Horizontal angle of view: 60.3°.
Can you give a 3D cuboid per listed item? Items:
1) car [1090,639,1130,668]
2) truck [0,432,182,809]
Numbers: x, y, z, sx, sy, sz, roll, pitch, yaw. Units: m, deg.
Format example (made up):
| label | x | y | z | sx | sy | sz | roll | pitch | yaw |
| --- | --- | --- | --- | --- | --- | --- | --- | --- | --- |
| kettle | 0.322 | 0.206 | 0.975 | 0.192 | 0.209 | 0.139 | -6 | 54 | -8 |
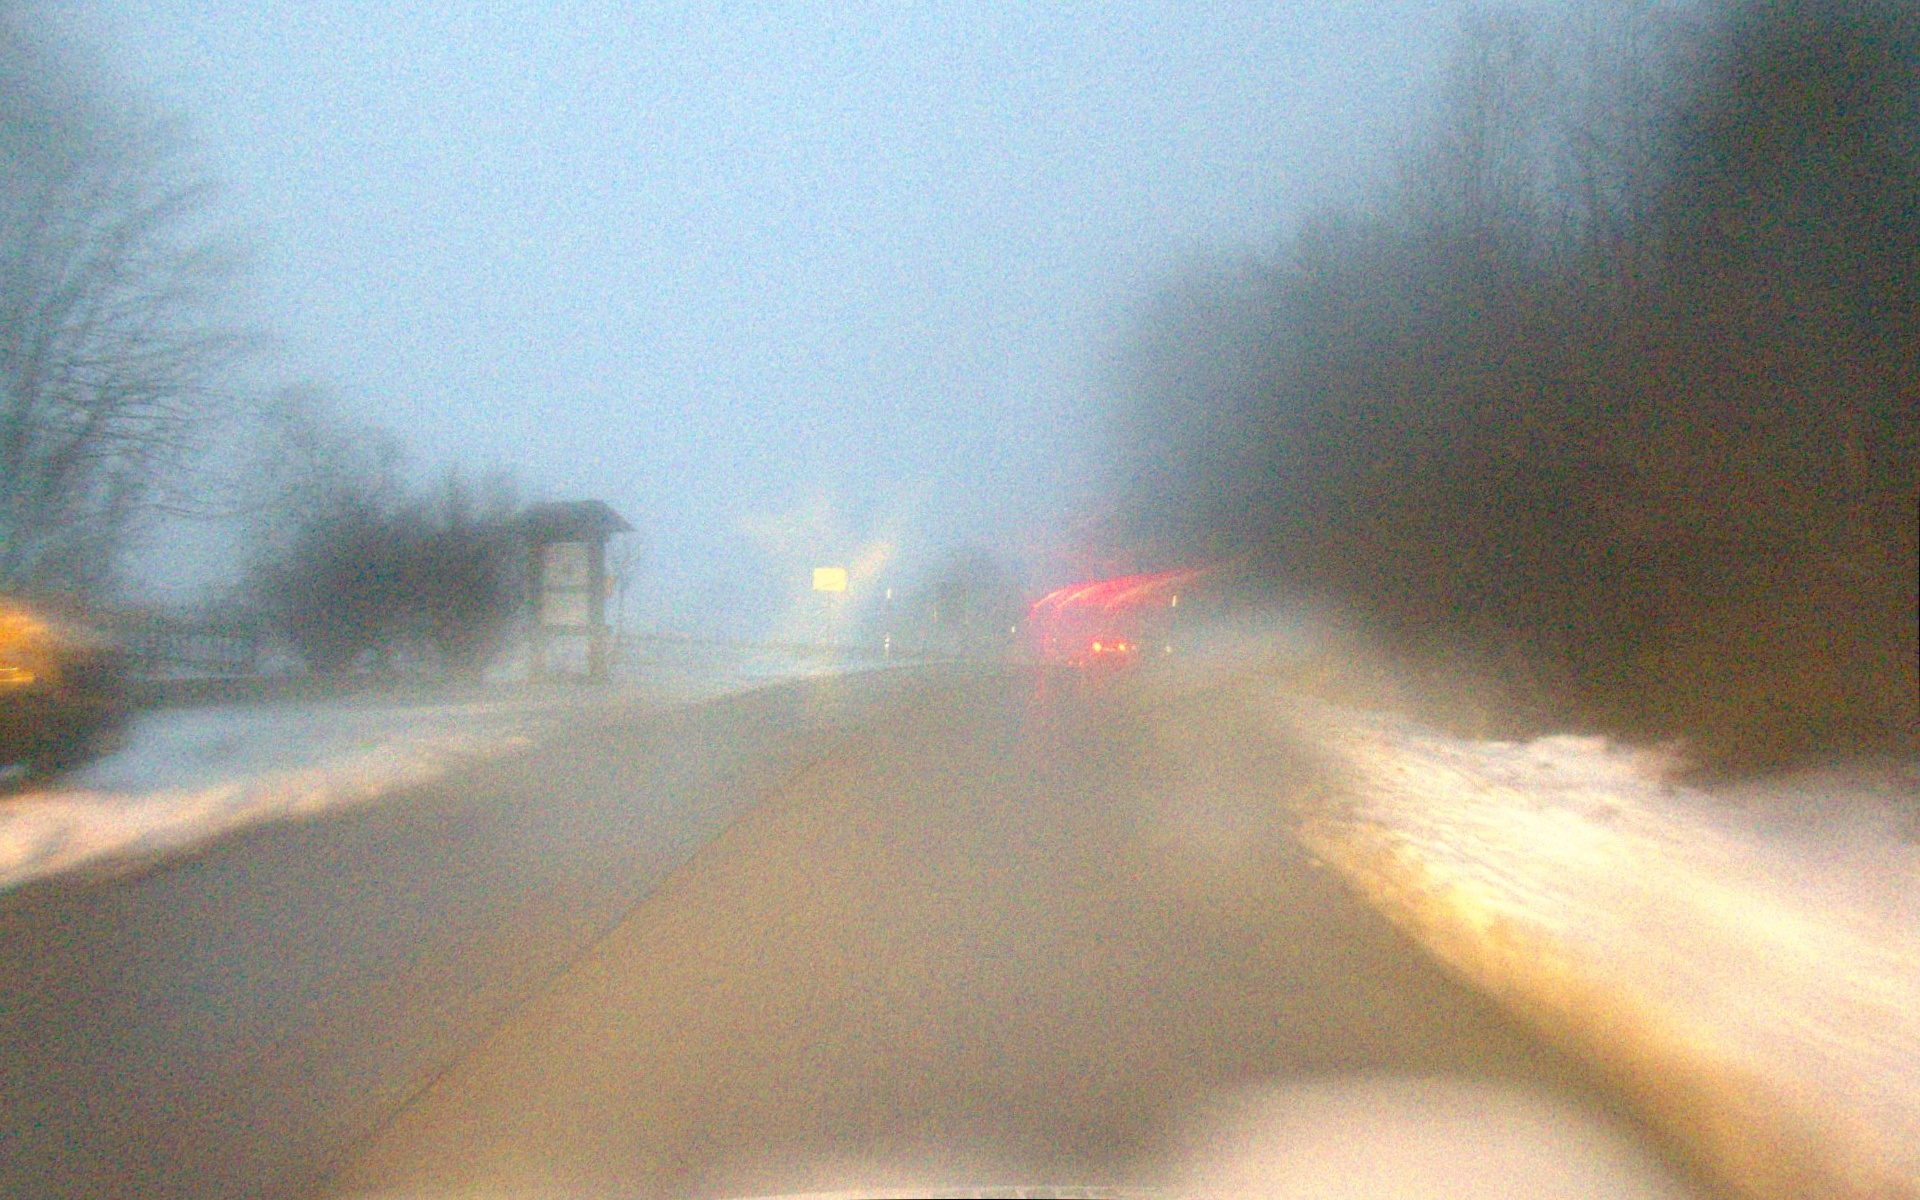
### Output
| label | x | y | z | sx | sy | sz | roll | pitch | yaw |
| --- | --- | --- | --- | --- | --- | --- | --- | --- | --- |
| car | 7.817 | 2.781 | 86.649 | 1.952 | 1.445 | 4.001 | 0 | -1 | 4 |
| truck | -8.286 | 0.188 | 11.014 | 5.161 | 2.343 | 1.997 | -2 | 1 | -7 |
